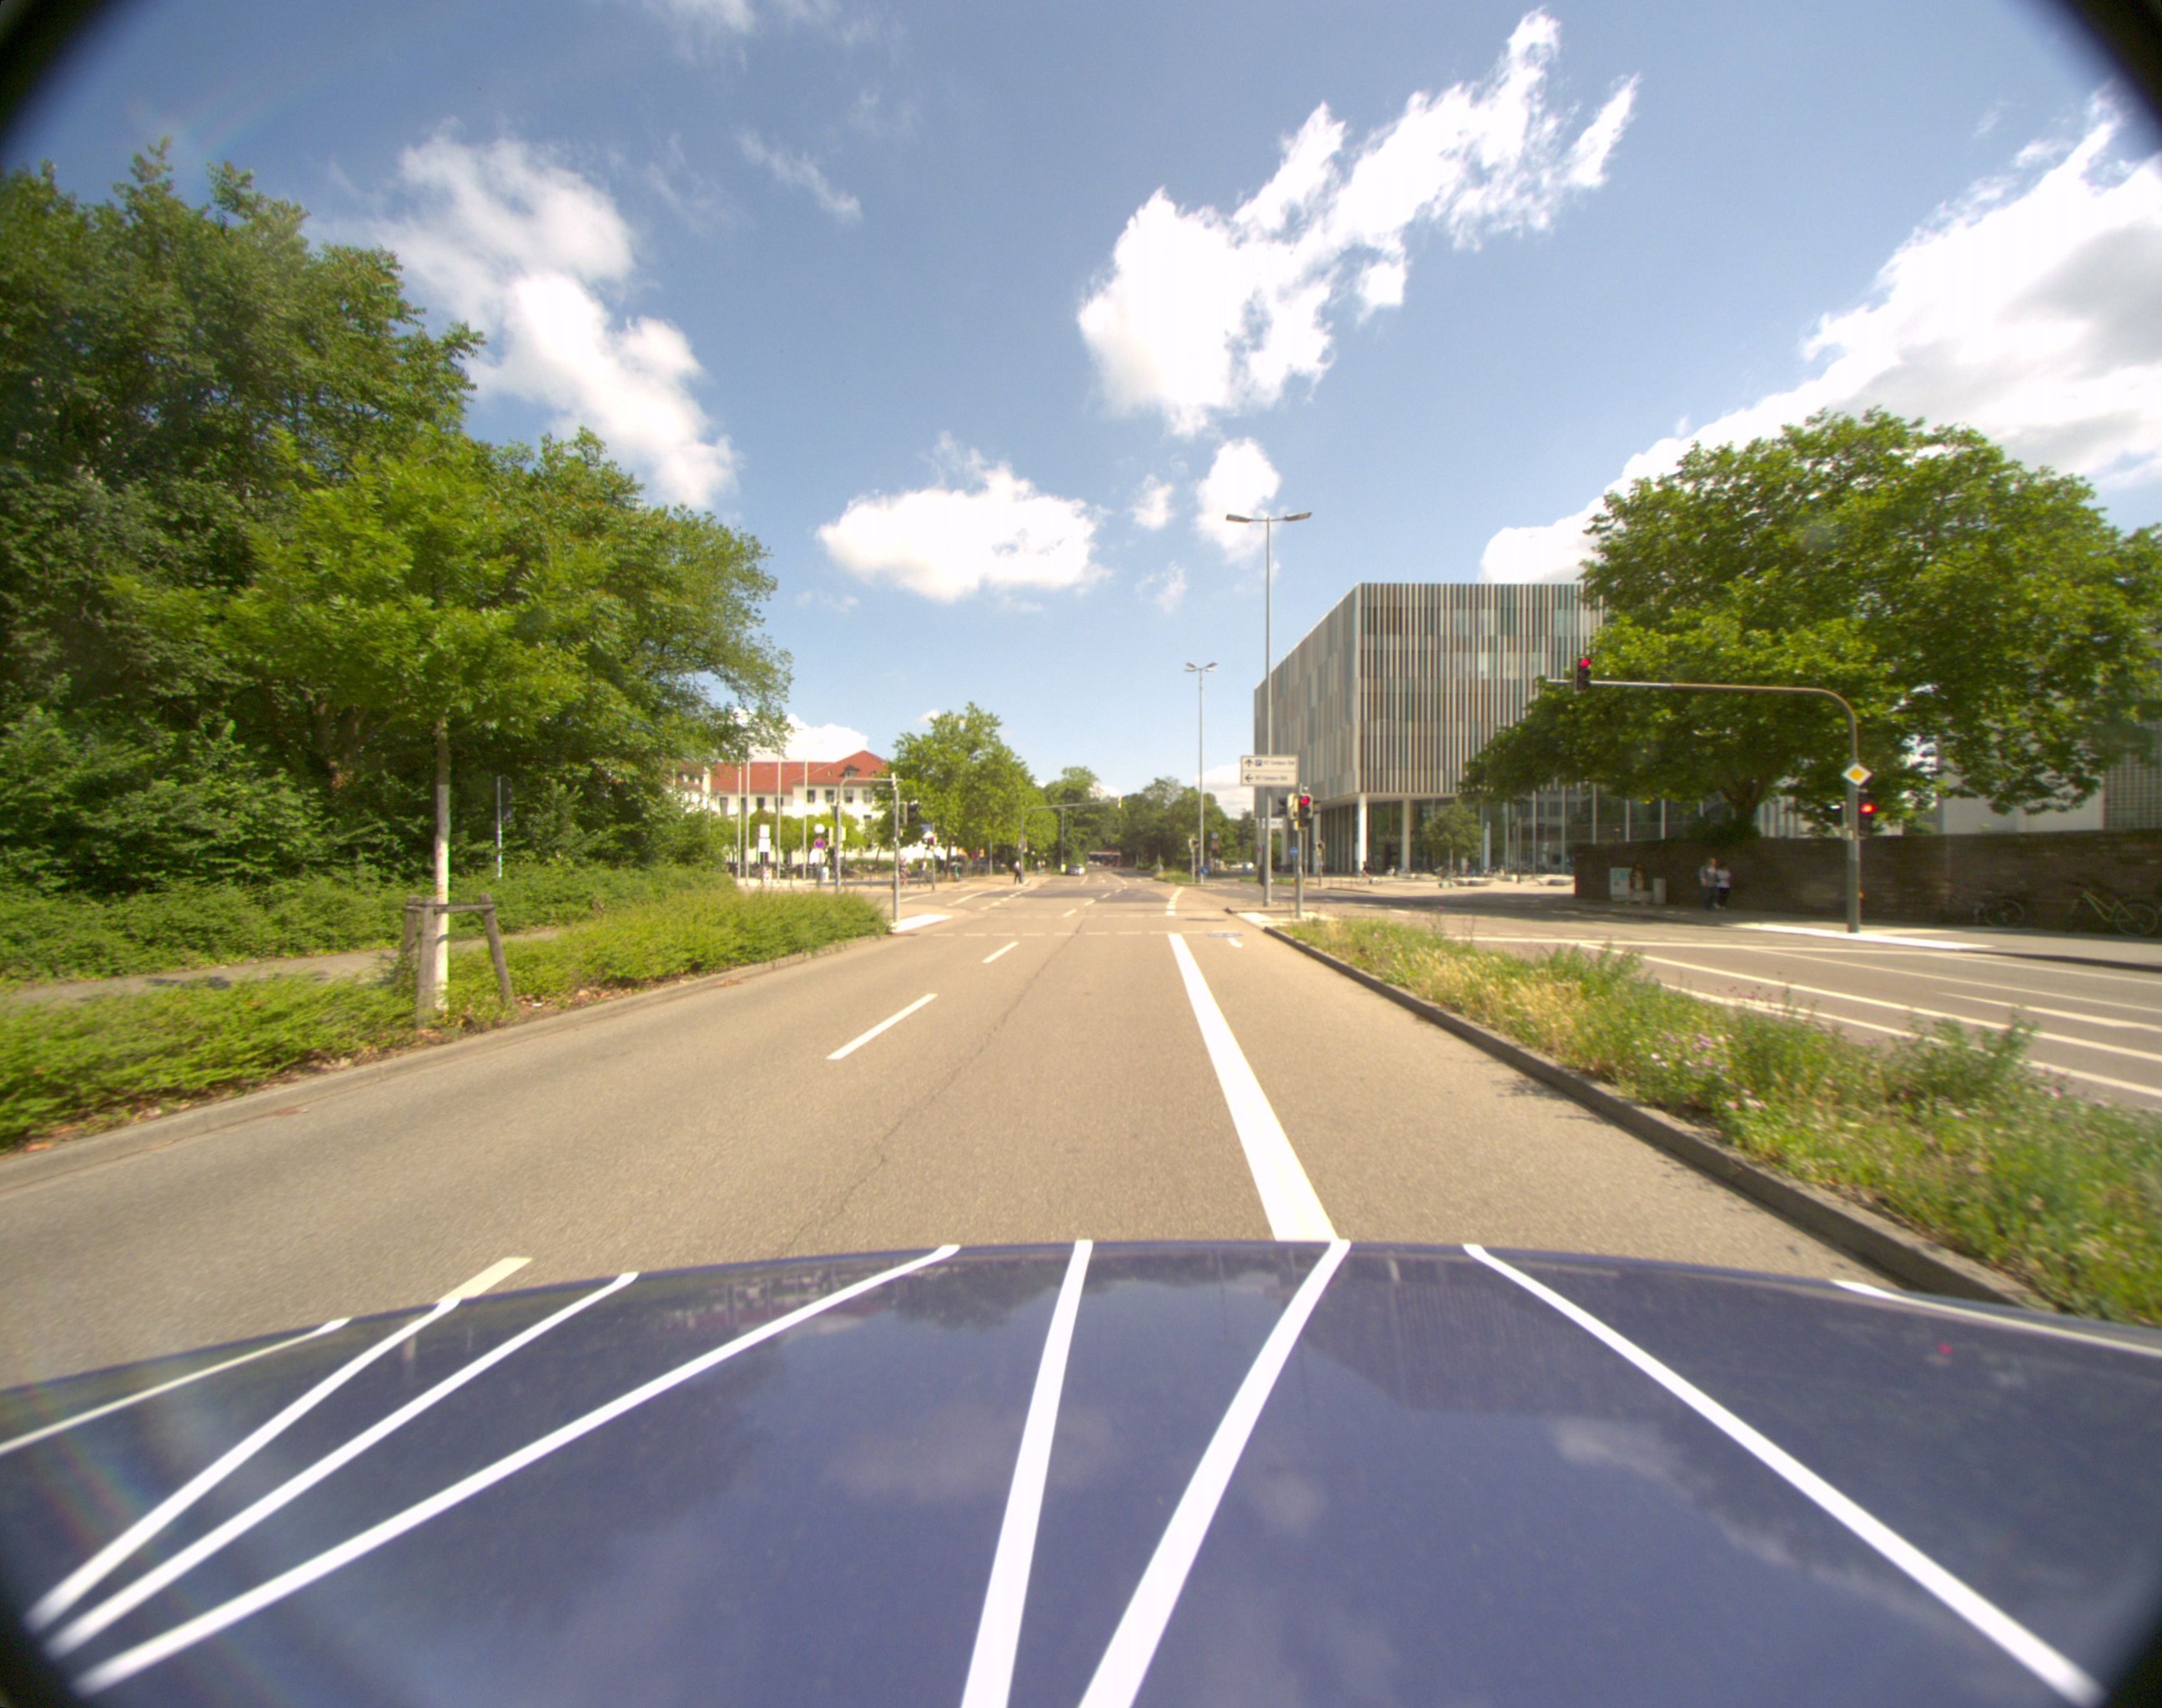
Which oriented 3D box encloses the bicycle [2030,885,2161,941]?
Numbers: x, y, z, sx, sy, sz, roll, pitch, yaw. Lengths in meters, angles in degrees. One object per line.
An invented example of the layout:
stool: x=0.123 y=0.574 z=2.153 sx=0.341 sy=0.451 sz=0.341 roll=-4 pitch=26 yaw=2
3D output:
bicycle: x=21.730 y=1.218 z=16.171 sx=0.632 sy=1.042 sz=1.880 roll=0 pitch=0 yaw=-5

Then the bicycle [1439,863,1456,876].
bicycle: x=31.520 y=1.288 z=65.293 sx=0.720 sy=1.090 sz=2.223 roll=0 pitch=0 yaw=41

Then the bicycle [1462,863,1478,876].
bicycle: x=32.904 y=1.274 z=64.267 sx=0.720 sy=1.090 sz=2.223 roll=0 pitch=0 yaw=41

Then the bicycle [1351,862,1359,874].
bicycle: x=26.212 y=1.357 z=72.728 sx=0.547 sy=1.090 sz=1.636 roll=0 pitch=0 yaw=13

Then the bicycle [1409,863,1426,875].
bicycle: x=30.088 y=1.336 z=67.914 sx=0.720 sy=1.090 sz=2.223 roll=0 pitch=0 yaw=41

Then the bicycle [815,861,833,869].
bicycle: x=-26.924 y=1.137 z=79.657 sx=1.672 sy=0.785 sz=0.627 roll=0 pitch=0 yaw=-4

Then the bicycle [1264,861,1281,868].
bicycle: x=27.210 y=1.484 z=108.067 sx=2.217 sy=1.083 sz=0.722 roll=0 pitch=0 yaw=-4

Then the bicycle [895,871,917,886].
bicycle: x=-10.749 y=1.497 z=46.620 sx=1.510 sy=0.828 sz=0.621 roll=0 pitch=0 yaw=44

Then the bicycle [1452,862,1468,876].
bicycle: x=32.270 y=1.270 z=64.726 sx=0.720 sy=1.090 sz=2.223 roll=0 pitch=0 yaw=41

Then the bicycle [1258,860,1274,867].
bicycle: x=27.507 y=1.381 z=112.937 sx=2.217 sy=1.090 sz=0.722 roll=0 pitch=0 yaw=-4

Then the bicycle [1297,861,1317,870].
bicycle: x=27.684 y=1.350 z=92.968 sx=2.217 sy=1.090 sz=0.755 roll=0 pitch=0 yaw=-4

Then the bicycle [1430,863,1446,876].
bicycle: x=30.923 y=1.317 z=65.829 sx=0.720 sy=1.090 sz=2.223 roll=0 pitch=0 yaw=41

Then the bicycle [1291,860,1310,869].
bicycle: x=27.859 y=1.336 z=96.599 sx=2.217 sy=1.090 sz=0.722 roll=0 pitch=0 yaw=-4

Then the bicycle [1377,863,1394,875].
bicycle: x=27.975 y=1.386 z=69.785 sx=0.720 sy=1.090 sz=2.223 roll=0 pitch=0 yaw=41

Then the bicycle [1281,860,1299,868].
bicycle: x=27.428 y=1.291 z=99.601 sx=2.217 sy=1.090 sz=0.722 roll=0 pitch=0 yaw=-4

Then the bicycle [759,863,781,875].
bicycle: x=-26.908 y=1.307 z=65.748 sx=1.672 sy=1.090 sz=0.626 roll=0 pitch=0 yaw=-4

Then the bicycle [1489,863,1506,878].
bicycle: x=34.188 y=1.344 z=62.416 sx=0.745 sy=1.183 sz=2.324 roll=0 pitch=0 yaw=41

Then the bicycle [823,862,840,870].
bicycle: x=-27.037 y=1.300 z=82.379 sx=1.672 sy=0.785 sz=0.627 roll=0 pitch=0 yaw=-4

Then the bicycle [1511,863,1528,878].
bicycle: x=35.266 y=1.319 z=61.051 sx=0.745 sy=1.183 sz=2.324 roll=0 pitch=0 yaw=41

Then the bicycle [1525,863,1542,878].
bicycle: x=36.016 y=1.303 z=60.427 sx=0.745 sy=1.183 sz=2.324 roll=0 pitch=0 yaw=41

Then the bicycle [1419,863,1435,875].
bicycle: x=30.673 y=1.319 z=67.402 sx=0.720 sy=1.090 sz=2.223 roll=0 pitch=0 yaw=41

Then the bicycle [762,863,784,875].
bicycle: x=-26.917 y=1.321 z=66.396 sx=1.672 sy=1.090 sz=0.626 roll=0 pitch=0 yaw=-4

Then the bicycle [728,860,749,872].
bicycle: x=-32.842 y=1.138 z=72.868 sx=1.672 sy=1.090 sz=0.627 roll=0 pitch=0 yaw=-4

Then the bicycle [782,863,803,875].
bicycle: x=-26.154 y=1.333 z=68.969 sx=1.672 sy=1.090 sz=0.627 roll=0 pitch=0 yaw=-4

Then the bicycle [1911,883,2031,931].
bicycle: x=21.617 y=1.253 z=18.513 sx=0.632 sy=1.042 sz=1.880 roll=0 pitch=0 yaw=-5

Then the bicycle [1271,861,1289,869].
bicycle: x=27.461 y=1.497 z=104.892 sx=2.217 sy=1.090 sz=0.722 roll=0 pitch=0 yaw=-4

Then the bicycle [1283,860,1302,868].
bicycle: x=27.483 y=1.280 z=98.698 sx=2.217 sy=1.090 sz=0.722 roll=0 pitch=0 yaw=-4

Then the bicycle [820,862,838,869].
bicycle: x=-26.921 y=1.256 z=81.198 sx=1.672 sy=0.785 sz=0.627 roll=0 pitch=0 yaw=-4

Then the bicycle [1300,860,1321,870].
bicycle: x=27.764 y=1.327 z=91.939 sx=2.217 sy=1.090 sz=0.722 roll=0 pitch=0 yaw=-4

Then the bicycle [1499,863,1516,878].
bicycle: x=34.701 y=1.333 z=61.783 sx=0.745 sy=1.183 sz=2.324 roll=0 pitch=0 yaw=41

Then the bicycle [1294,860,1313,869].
bicycle: x=27.879 y=1.332 z=95.205 sx=2.217 sy=1.090 sz=0.735 roll=0 pitch=0 yaw=-4

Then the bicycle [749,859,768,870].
bicycle: x=-32.335 y=1.094 z=76.242 sx=1.672 sy=1.090 sz=0.627 roll=0 pitch=0 yaw=-4

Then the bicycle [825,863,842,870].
bicycle: x=-27.110 y=1.362 z=83.137 sx=1.672 sy=0.785 sz=0.627 roll=0 pitch=0 yaw=-4

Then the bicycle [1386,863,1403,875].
bicycle: x=28.598 y=1.379 z=69.325 sx=0.720 sy=1.090 sz=2.223 roll=0 pitch=0 yaw=41

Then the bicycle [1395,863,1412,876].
bicycle: x=29.233 y=1.386 z=68.819 sx=0.720 sy=1.090 sz=2.223 roll=0 pitch=0 yaw=41

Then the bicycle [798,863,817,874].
bicycle: x=-26.172 y=1.363 z=72.719 sx=1.672 sy=1.090 sz=0.627 roll=0 pitch=0 yaw=-4

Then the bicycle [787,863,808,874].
bicycle: x=-26.131 y=1.333 z=70.040 sx=1.672 sy=1.090 sz=0.627 roll=0 pitch=0 yaw=-4

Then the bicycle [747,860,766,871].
bicycle: x=-32.167 y=1.175 z=75.330 sx=1.672 sy=1.090 sz=0.627 roll=0 pitch=0 yaw=-4

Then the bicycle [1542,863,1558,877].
bicycle: x=36.515 y=1.212 z=59.165 sx=0.720 sy=1.090 sz=2.223 roll=0 pitch=0 yaw=41

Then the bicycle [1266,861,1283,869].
bicycle: x=27.230 y=1.499 z=107.148 sx=2.217 sy=1.090 sz=0.722 roll=0 pitch=0 yaw=-4
